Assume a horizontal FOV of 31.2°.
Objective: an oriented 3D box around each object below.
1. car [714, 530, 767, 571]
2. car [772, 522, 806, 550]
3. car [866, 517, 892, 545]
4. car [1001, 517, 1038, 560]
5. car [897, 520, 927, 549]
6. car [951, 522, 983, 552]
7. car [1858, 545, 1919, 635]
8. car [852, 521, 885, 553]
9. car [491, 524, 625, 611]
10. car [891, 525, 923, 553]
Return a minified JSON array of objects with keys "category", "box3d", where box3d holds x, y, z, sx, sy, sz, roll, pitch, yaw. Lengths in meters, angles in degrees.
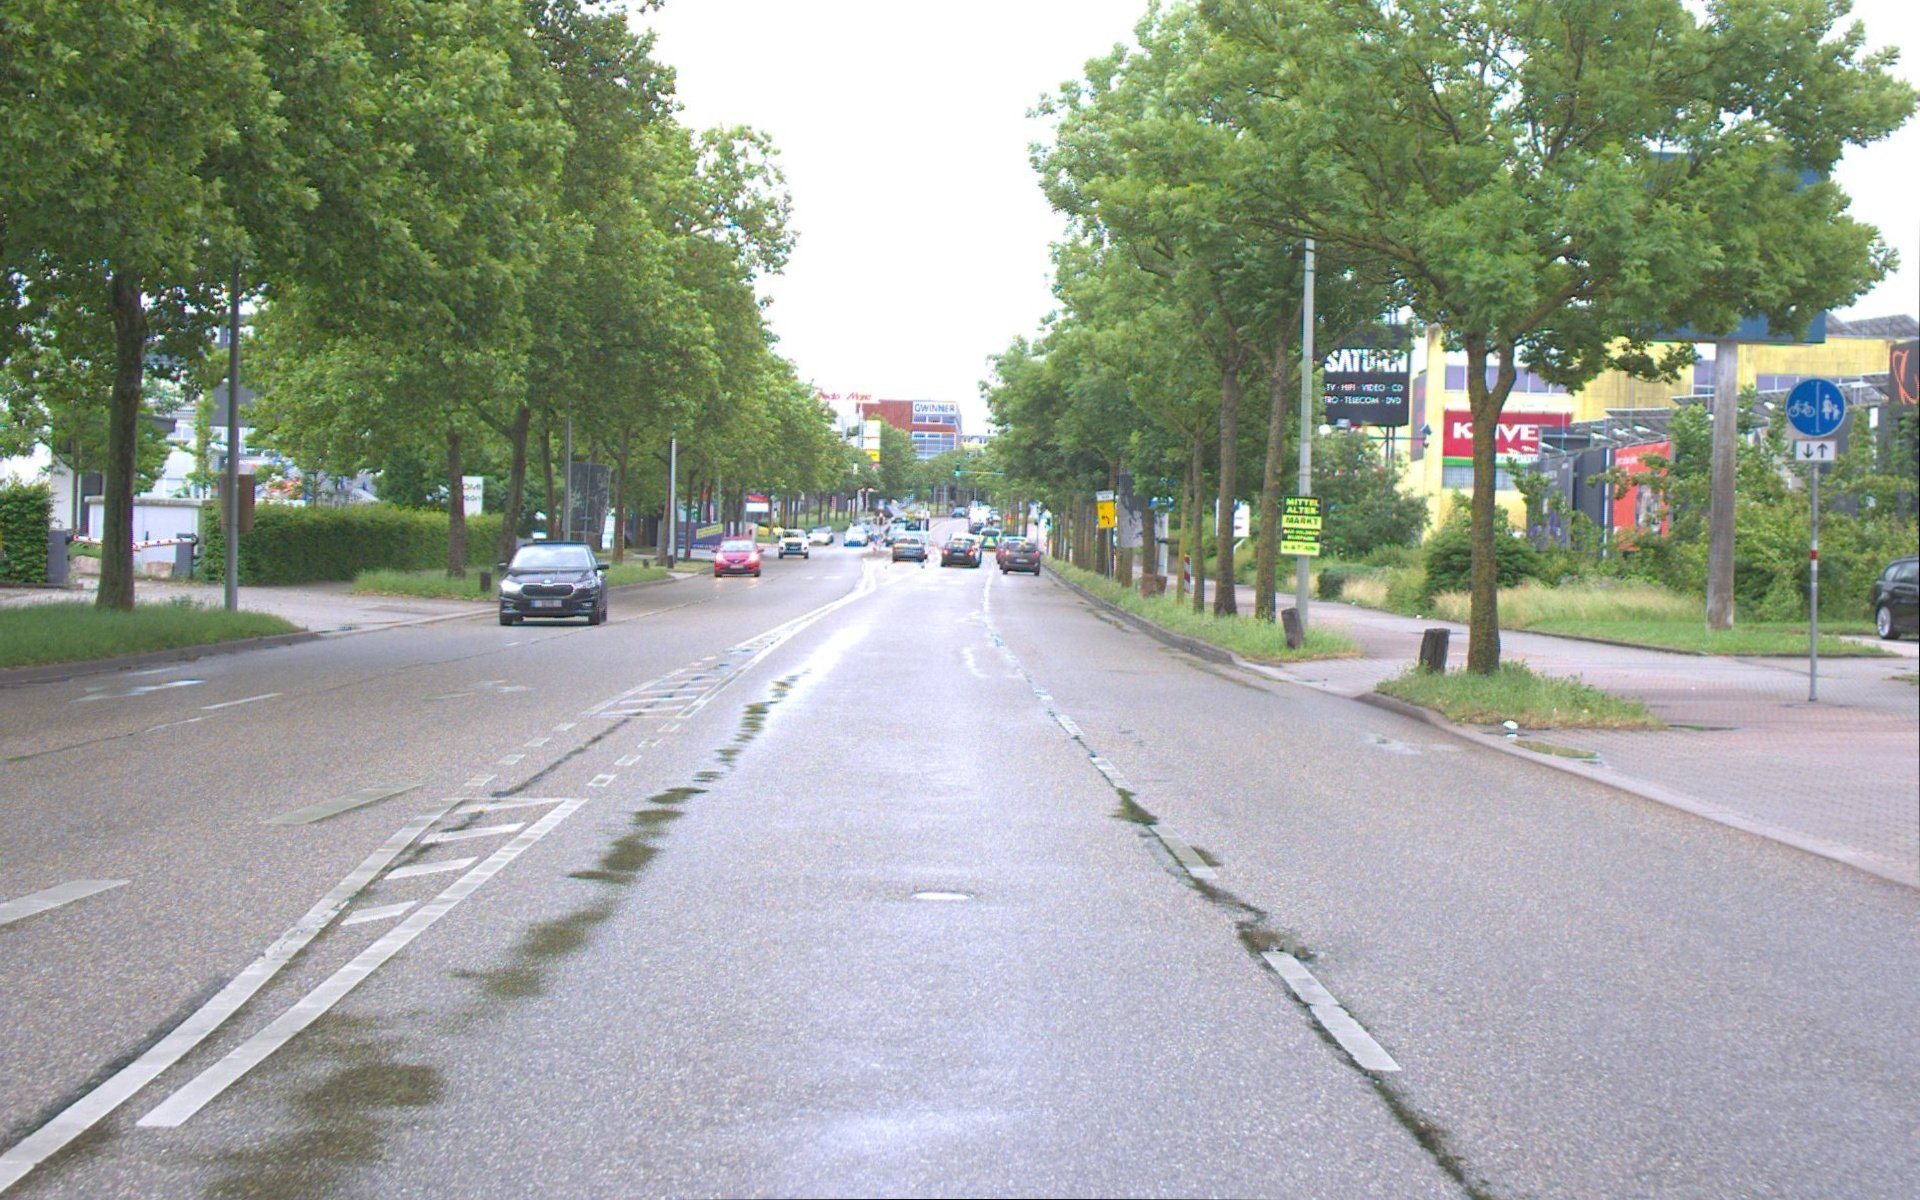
[{"category":"car","box3d":[-8.301,-1.879,130.193,1.726,1.512,3.821,1,1,0]},{"category":"car","box3d":[-10.617,-3.994,213.819,1.704,1.731,4.000,1,1,2]},{"category":"car","box3d":[-5.943,-5.073,251.488,1.827,2.007,4.001,1,1,-2]},{"category":"car","box3d":[2.895,-2.995,167.207,1.745,2.007,4.000,1,1,2]},{"category":"car","box3d":[-3.103,-4.262,224.256,1.891,1.870,4.124,1,1,0]},{"category":"car","box3d":[0.395,-3.681,200.236,1.745,1.731,4.000,1,1,2]},{"category":"car","box3d":[16.290,-0.142,56.043,1.577,1.423,4.267,1,2,-9]},{"category":"car","box3d":[-5.930,-4.070,222.714,1.993,2.007,4.000,1,1,0]},{"category":"car","box3d":[-6.944,-0.588,59.686,1.804,1.458,3.846,0,1,1]},{"category":"car","box3d":[-3.240,-3.736,209.570,1.745,1.695,4.000,1,1,2]}]
